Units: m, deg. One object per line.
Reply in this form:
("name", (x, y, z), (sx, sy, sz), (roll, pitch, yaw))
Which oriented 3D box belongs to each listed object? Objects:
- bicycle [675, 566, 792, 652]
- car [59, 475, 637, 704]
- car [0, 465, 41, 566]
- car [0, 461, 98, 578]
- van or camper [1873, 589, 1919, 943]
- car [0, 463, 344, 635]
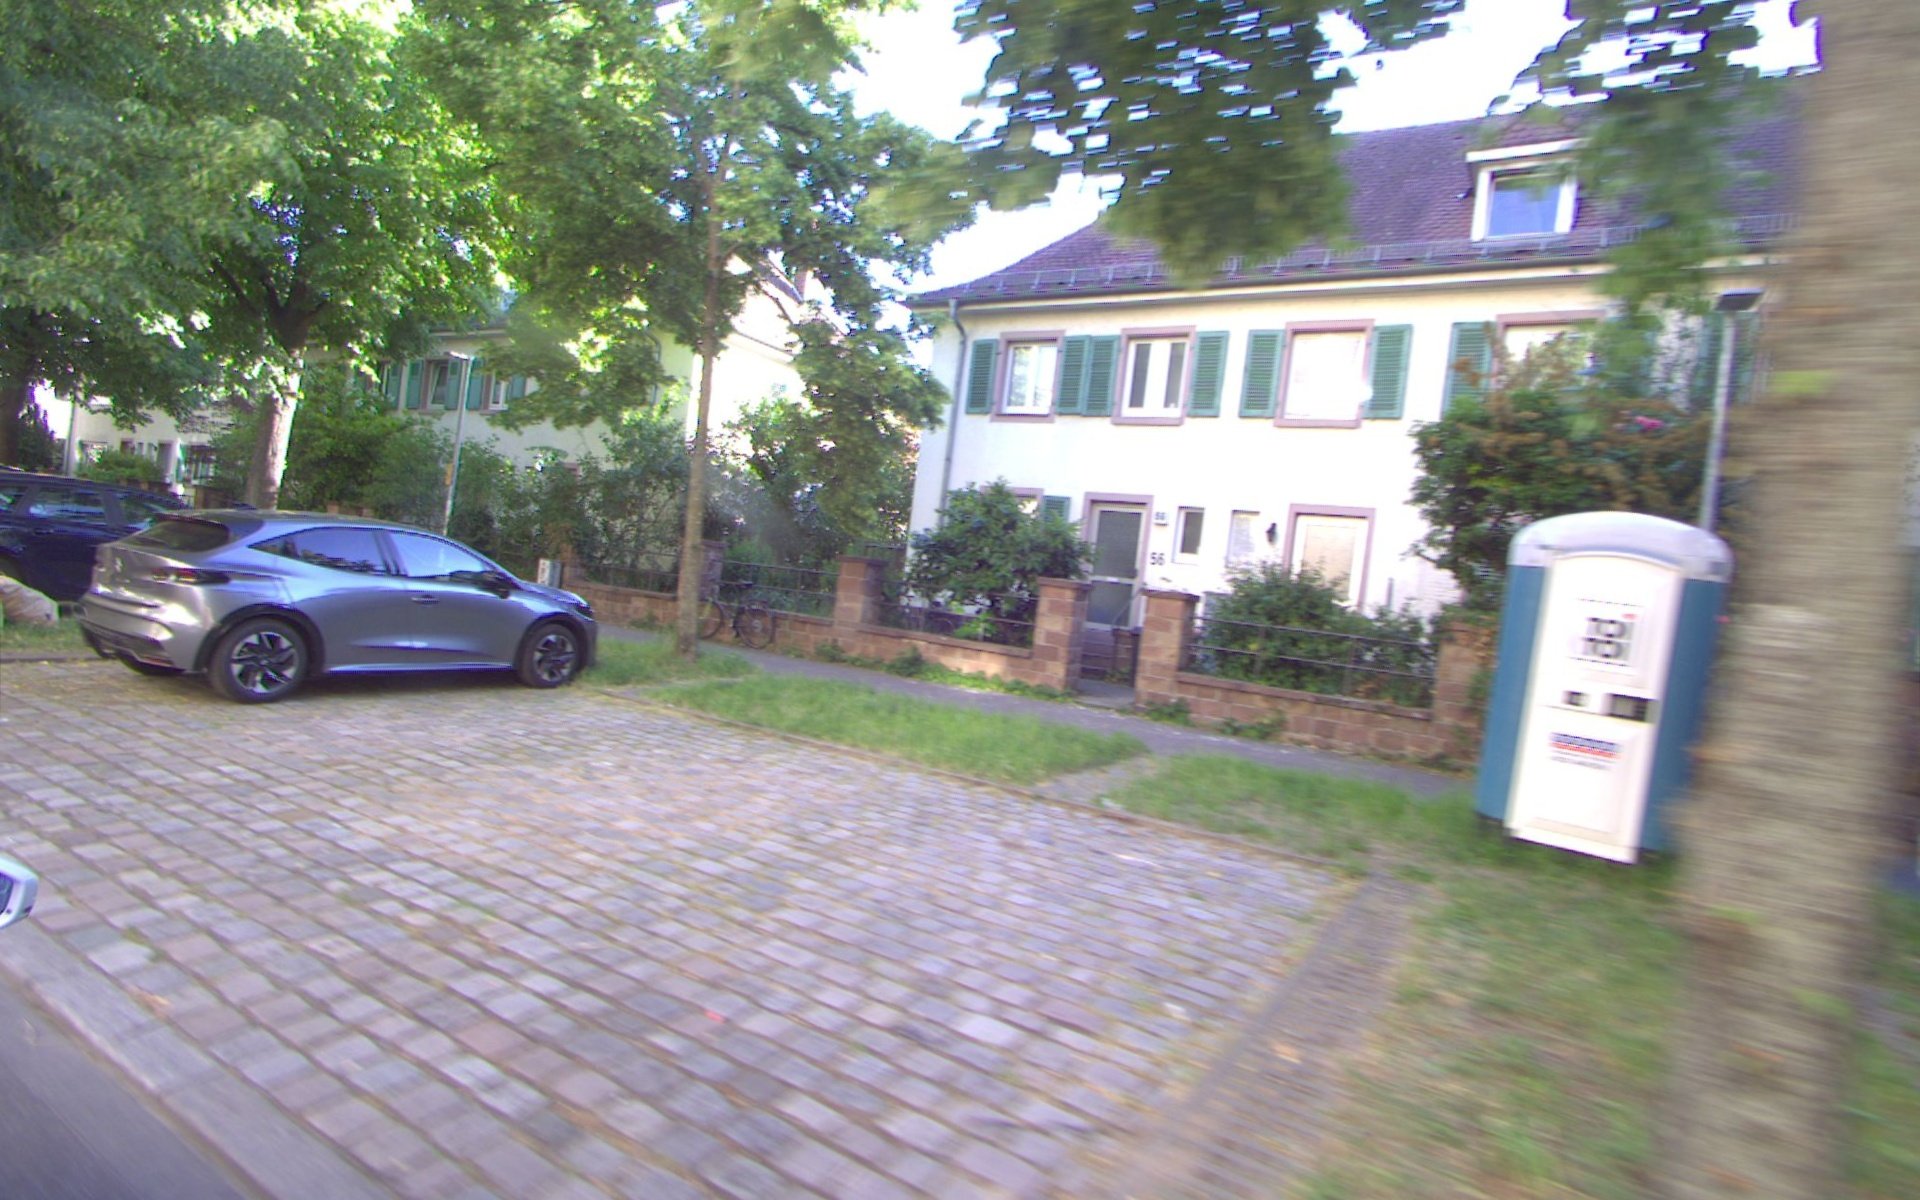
("bicycle", (-3.495, 0.129, 15.437), (1.789, 1.143, 0.564), (6, 2, 32))
("car", (-5.066, 0.003, 8.978), (1.661, 1.472, 4.040), (7, 0, 28))
("car", (-17.416, -1.575, 15.744), (1.675, 1.619, 4.141), (5, -1, 33))
("car", (-15.178, -1.330, 14.527), (1.664, 1.619, 3.775), (5, -1, 33))
("van or camper", (5.120, 0.647, 2.812), (2.424, 2.683, 7.142), (8, 3, 33))
("car", (-9.745, -0.553, 11.515), (1.664, 1.619, 4.225), (5, -1, 33))
